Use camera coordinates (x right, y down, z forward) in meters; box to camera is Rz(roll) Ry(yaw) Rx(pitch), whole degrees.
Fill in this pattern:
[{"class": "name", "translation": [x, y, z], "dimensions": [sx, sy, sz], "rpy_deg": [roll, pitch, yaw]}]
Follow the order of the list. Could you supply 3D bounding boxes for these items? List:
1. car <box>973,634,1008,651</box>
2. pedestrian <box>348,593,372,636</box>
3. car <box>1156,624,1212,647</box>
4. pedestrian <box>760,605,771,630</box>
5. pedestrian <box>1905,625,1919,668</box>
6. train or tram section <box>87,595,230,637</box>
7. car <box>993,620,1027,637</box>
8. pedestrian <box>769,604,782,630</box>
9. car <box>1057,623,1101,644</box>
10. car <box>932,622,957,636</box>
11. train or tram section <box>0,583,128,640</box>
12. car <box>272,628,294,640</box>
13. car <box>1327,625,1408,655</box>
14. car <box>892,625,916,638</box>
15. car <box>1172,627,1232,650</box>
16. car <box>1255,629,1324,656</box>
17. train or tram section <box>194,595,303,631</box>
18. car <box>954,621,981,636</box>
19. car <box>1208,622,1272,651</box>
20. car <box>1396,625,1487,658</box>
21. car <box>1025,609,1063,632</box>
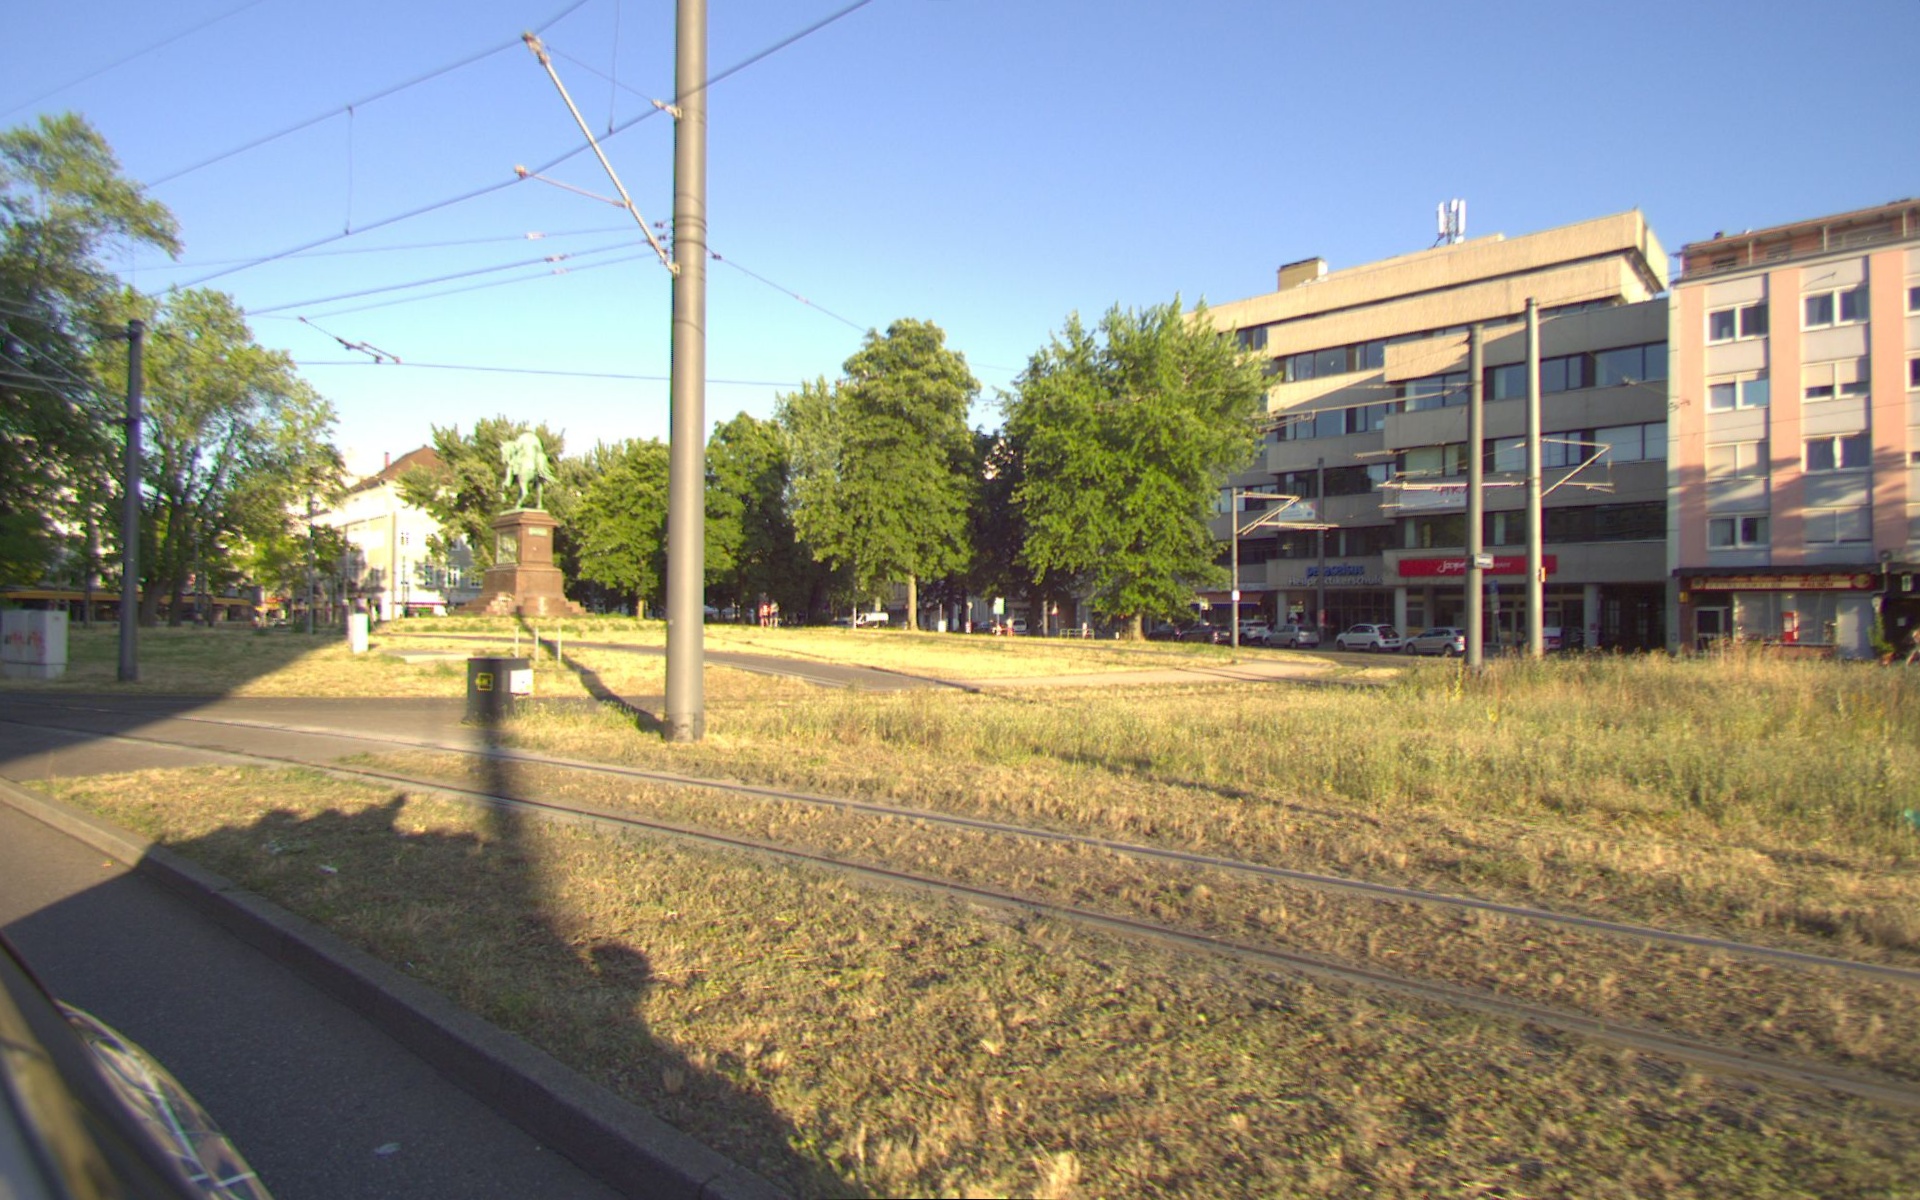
[{"class": "car", "translation": [2.926, 4.110, 97.497], "dimensions": [1.833, 1.568, 4.081], "rpy_deg": [0, -3, -23]}, {"class": "pedestrian", "translation": [-24.236, 0.600, 40.856], "dimensions": [0.832, 1.703, 0.471], "rpy_deg": [-1, -2, 30]}, {"class": "car", "translation": [15.999, 2.579, 72.533], "dimensions": [1.833, 1.568, 4.081], "rpy_deg": [0, -3, -23]}, {"class": "pedestrian", "translation": [-12.159, 1.099, 63.274], "dimensions": [0.447, 1.524, 0.554], "rpy_deg": [2, -3, -44]}, {"class": "pedestrian", "translation": [34.603, 1.663, 36.389], "dimensions": [0.853, 1.540, 1.106], "rpy_deg": [-3, -3, 42]}, {"class": "train or tram section", "translation": [-64.786, 1.321, 82.390], "dimensions": [2.886, 3.165, 12.877], "rpy_deg": [0, -1, -7]}, {"class": "car", "translation": [4.917, 2.838, 100.339], "dimensions": [1.729, 1.676, 4.013], "rpy_deg": [0, -3, -23]}, {"class": "pedestrian", "translation": [-11.573, 1.090, 63.445], "dimensions": [0.610, 1.593, 0.554], "rpy_deg": [2, -3, -44]}, {"class": "car", "translation": [10.176, 2.879, 86.603], "dimensions": [1.906, 1.808, 4.222], "rpy_deg": [0, -3, -23]}, {"class": "car", "translation": [-1.812, 3.384, 117.057], "dimensions": [1.766, 1.592, 4.012], "rpy_deg": [0, -2, -19]}, {"class": "train or tram section", "translation": [-63.126, 0.829, 69.342], "dimensions": [2.903, 3.611, 13.391], "rpy_deg": [0, -1, -8]}, {"class": "car", "translation": [-88.129, 4.430, 131.734], "dimensions": [1.699, 1.564, 3.969], "rpy_deg": [2, -3, -45]}, {"class": "car", "translation": [22.250, 2.213, 55.416], "dimensions": [1.729, 1.564, 4.013], "rpy_deg": [0, -3, -23]}, {"class": "car", "translation": [-6.746, 3.794, 121.628], "dimensions": [1.766, 1.592, 4.012], "rpy_deg": [0, -2, -19]}, {"class": "car", "translation": [15.296, 2.448, 64.225], "dimensions": [1.682, 1.401, 4.013], "rpy_deg": [0, -3, -21]}, {"class": "car", "translation": [19.850, 2.548, 61.080], "dimensions": [1.729, 1.564, 4.013], "rpy_deg": [0, -3, -23]}, {"class": "train or tram section", "translation": [-66.480, 1.233, 95.049], "dimensions": [2.880, 3.165, 12.667], "rpy_deg": [0, -1, -8]}, {"class": "car", "translation": [0.790, 3.130, 111.439], "dimensions": [1.766, 1.592, 4.012], "rpy_deg": [0, -2, -19]}, {"class": "car", "translation": [18.258, 2.405, 66.131], "dimensions": [1.729, 1.808, 4.222], "rpy_deg": [0, -3, -23]}, {"class": "car", "translation": [24.045, 2.083, 50.640], "dimensions": [1.729, 1.564, 4.012], "rpy_deg": [0, -2, -20]}, {"class": "car", "translation": [7.660, 1.913, 92.835], "dimensions": [1.729, 1.959, 4.222], "rpy_deg": [0, -3, -23]}]
